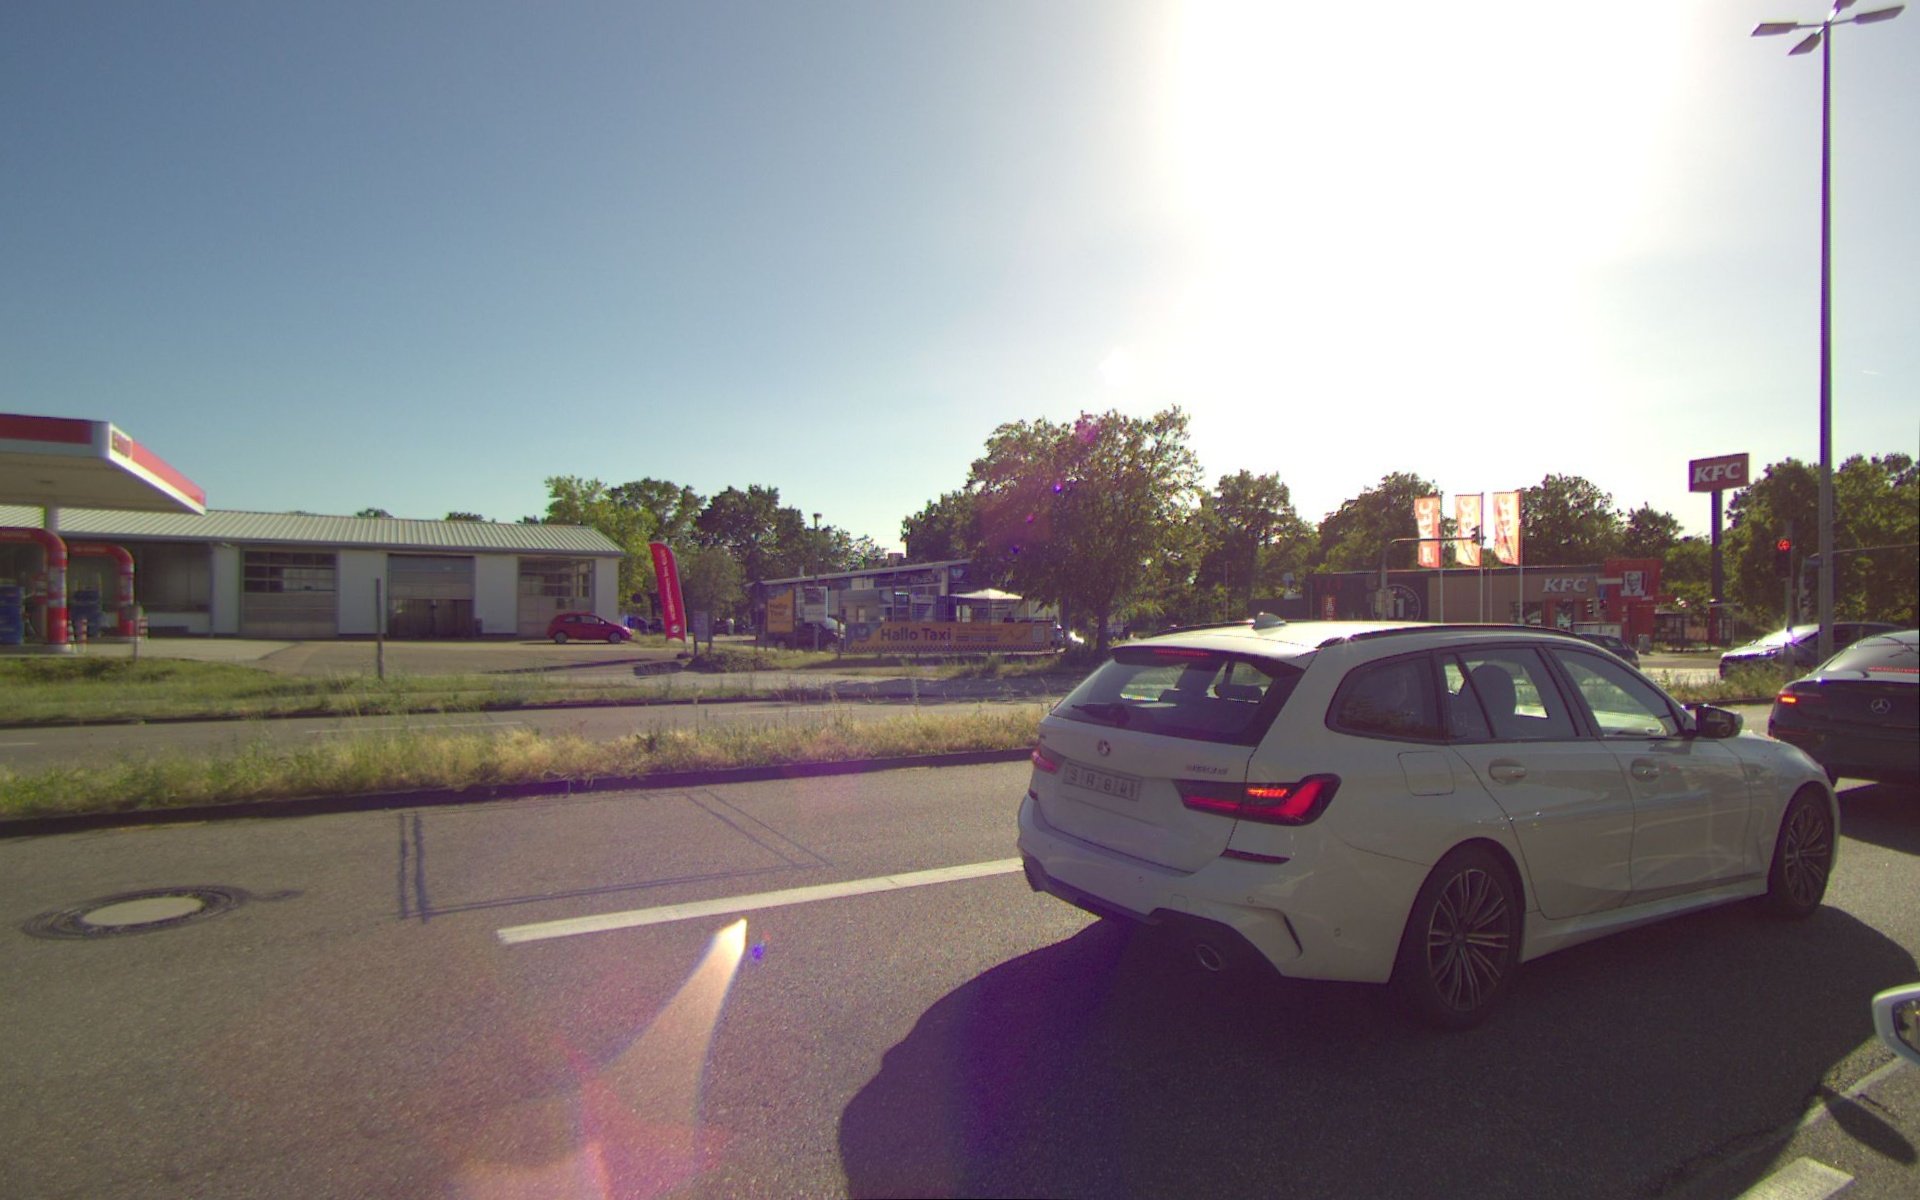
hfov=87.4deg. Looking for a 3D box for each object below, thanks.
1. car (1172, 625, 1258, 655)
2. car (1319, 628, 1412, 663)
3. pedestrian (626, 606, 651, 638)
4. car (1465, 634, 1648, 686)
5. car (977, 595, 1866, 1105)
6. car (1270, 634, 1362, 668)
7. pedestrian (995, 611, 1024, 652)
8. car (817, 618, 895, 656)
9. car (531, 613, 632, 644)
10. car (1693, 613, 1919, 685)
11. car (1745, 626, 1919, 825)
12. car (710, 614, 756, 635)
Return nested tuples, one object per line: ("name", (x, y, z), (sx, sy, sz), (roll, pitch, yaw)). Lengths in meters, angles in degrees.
("car", (13.779, 2.133, 54.524), (1.840, 1.449, 4.700), (0, 0, -28))
("car", (20.059, 2.231, 49.857), (1.804, 1.616, 4.016), (1, -1, -32))
("pedestrian", (-18.520, 1.257, 57.826), (1.089, 1.787, 1.148), (1, -1, -34))
("car", (17.885, 1.779, 30.228), (4.521, 1.465, 1.908), (1, -1, -7))
("car", (2.415, 0.794, 4.905), (4.409, 1.529, 1.760), (1, -1, -30))
("car", (17.013, 2.411, 48.166), (1.801, 1.448, 4.022), (1, -1, -27))
("pedestrian", (2.281, 1.427, 46.031), (0.916, 1.840, 1.013), (1, -1, -34))
("car", (-3.833, 1.324, 36.776), (1.625, 1.301, 3.122), (1, -1, -32))
("car", (-18.570, 1.413, 49.288), (4.486, 1.458, 1.741), (1, -1, -26))
("car", (21.324, 1.206, 25.277), (4.348, 1.712, 1.886), (1, -1, 1))
("car", (8.793, 0.962, 8.626), (4.409, 1.433, 1.760), (1, -1, -30))
("car", (-19.941, 2.141, 88.257), (2.085, 1.840, 4.000), (0, -1, 20))
